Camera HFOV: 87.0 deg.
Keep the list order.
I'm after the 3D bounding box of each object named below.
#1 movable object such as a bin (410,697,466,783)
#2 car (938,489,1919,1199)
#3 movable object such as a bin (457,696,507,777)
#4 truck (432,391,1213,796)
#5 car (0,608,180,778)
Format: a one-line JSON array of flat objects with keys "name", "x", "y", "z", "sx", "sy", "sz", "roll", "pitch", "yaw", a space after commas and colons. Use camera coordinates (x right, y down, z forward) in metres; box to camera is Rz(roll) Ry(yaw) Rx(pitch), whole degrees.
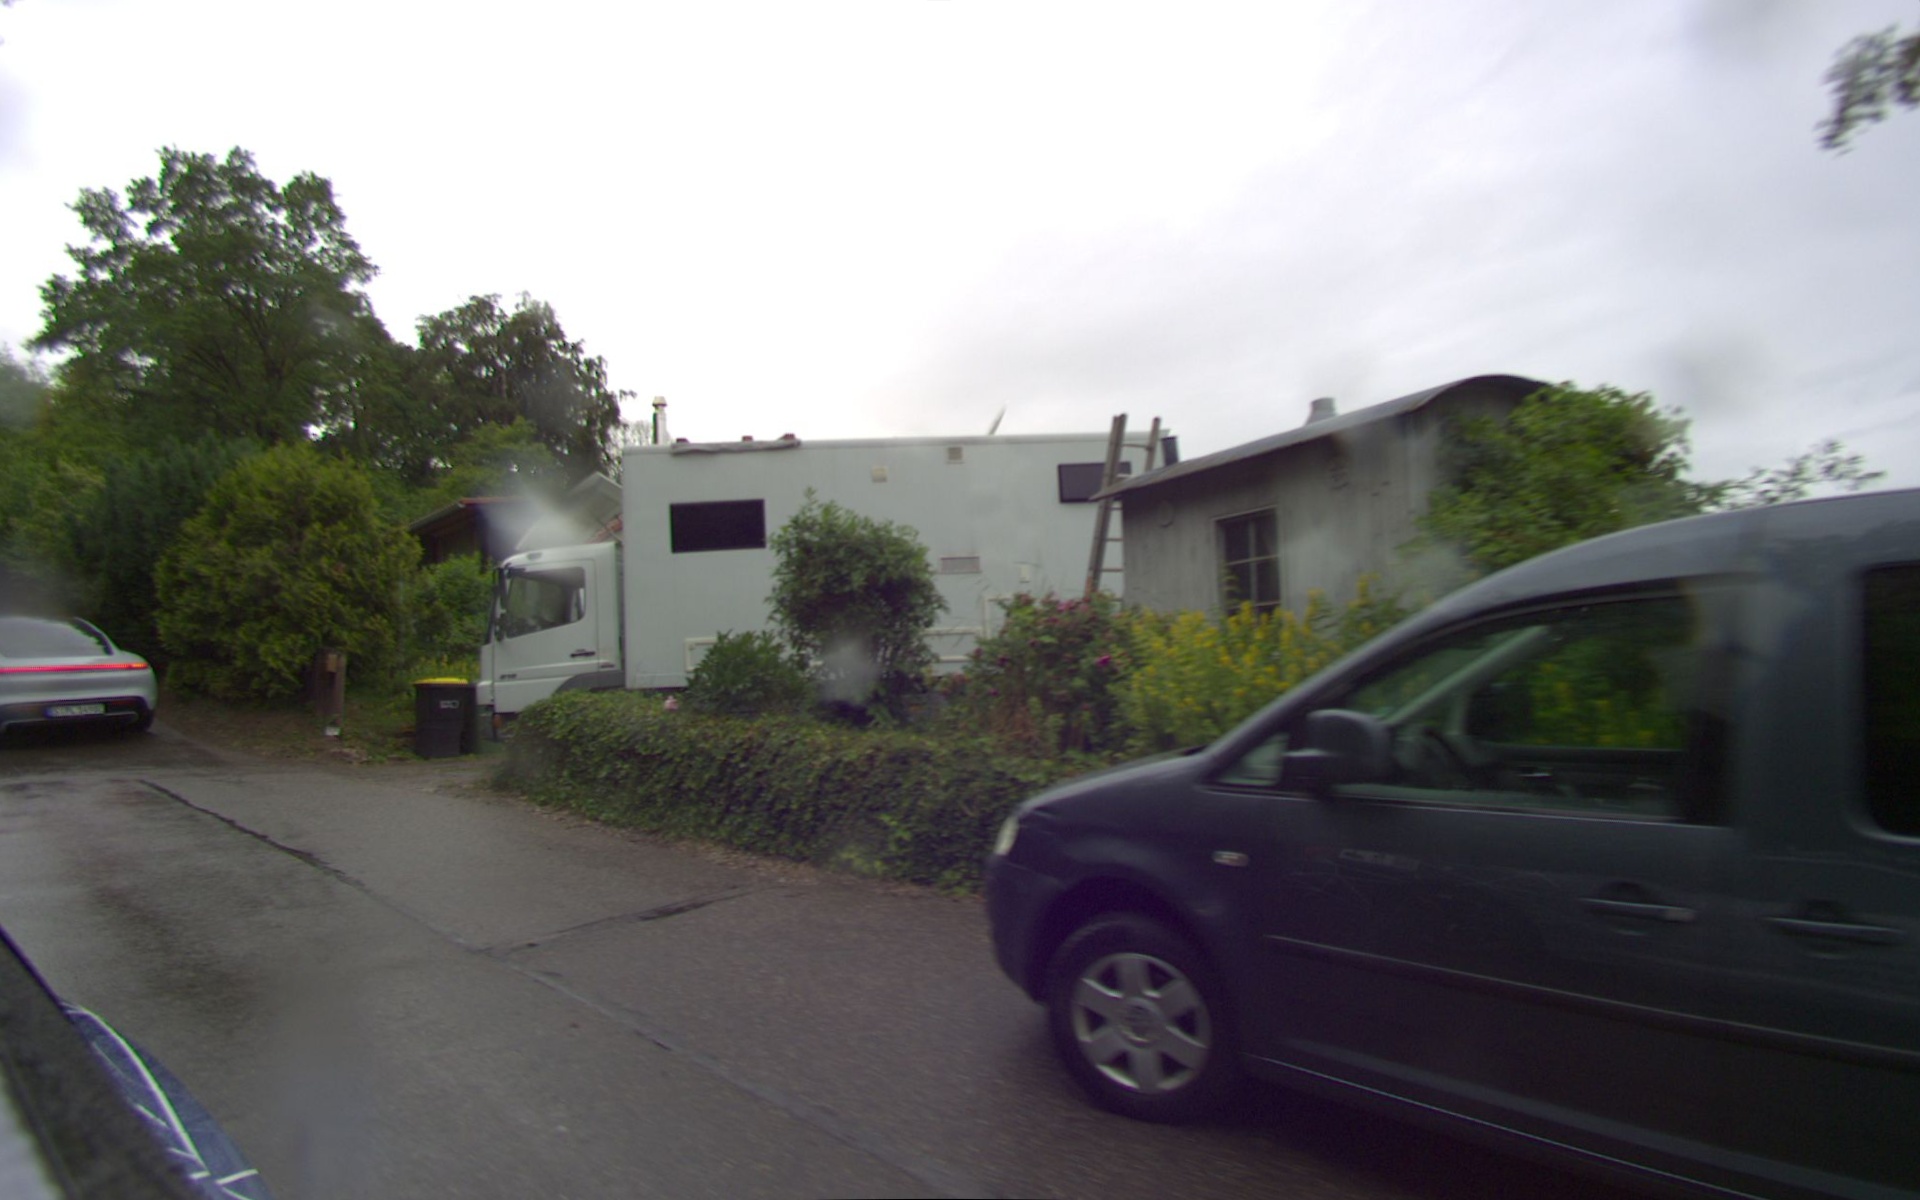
[{"name": "movable object such as a bin", "x": -6.948, "y": 1.847, "z": 13.474, "sx": 0.533, "sy": 1.075, "sz": 0.548, "roll": 2, "pitch": -6, "yaw": -41}, {"name": "car", "x": 2.074, "y": 0.724, "z": 2.637, "sx": 4.231, "sy": 1.796, "sz": 1.671, "roll": -4, "pitch": -4, "yaw": 42}, {"name": "movable object such as a bin", "x": -6.537, "y": 1.852, "z": 13.837, "sx": 0.533, "sy": 1.054, "sz": 0.361, "roll": 2, "pitch": -6, "yaw": -41}, {"name": "truck", "x": -1.454, "y": -0.118, "z": 12.014, "sx": 8.013, "sy": 3.838, "sz": 2.676, "roll": -3, "pitch": 1, "yaw": -2}, {"name": "car", "x": -11.663, "y": 1.003, "z": 12.477, "sx": 4.570, "sy": 1.533, "sz": 1.924, "roll": 4, "pitch": 0, "yaw": 35}]
